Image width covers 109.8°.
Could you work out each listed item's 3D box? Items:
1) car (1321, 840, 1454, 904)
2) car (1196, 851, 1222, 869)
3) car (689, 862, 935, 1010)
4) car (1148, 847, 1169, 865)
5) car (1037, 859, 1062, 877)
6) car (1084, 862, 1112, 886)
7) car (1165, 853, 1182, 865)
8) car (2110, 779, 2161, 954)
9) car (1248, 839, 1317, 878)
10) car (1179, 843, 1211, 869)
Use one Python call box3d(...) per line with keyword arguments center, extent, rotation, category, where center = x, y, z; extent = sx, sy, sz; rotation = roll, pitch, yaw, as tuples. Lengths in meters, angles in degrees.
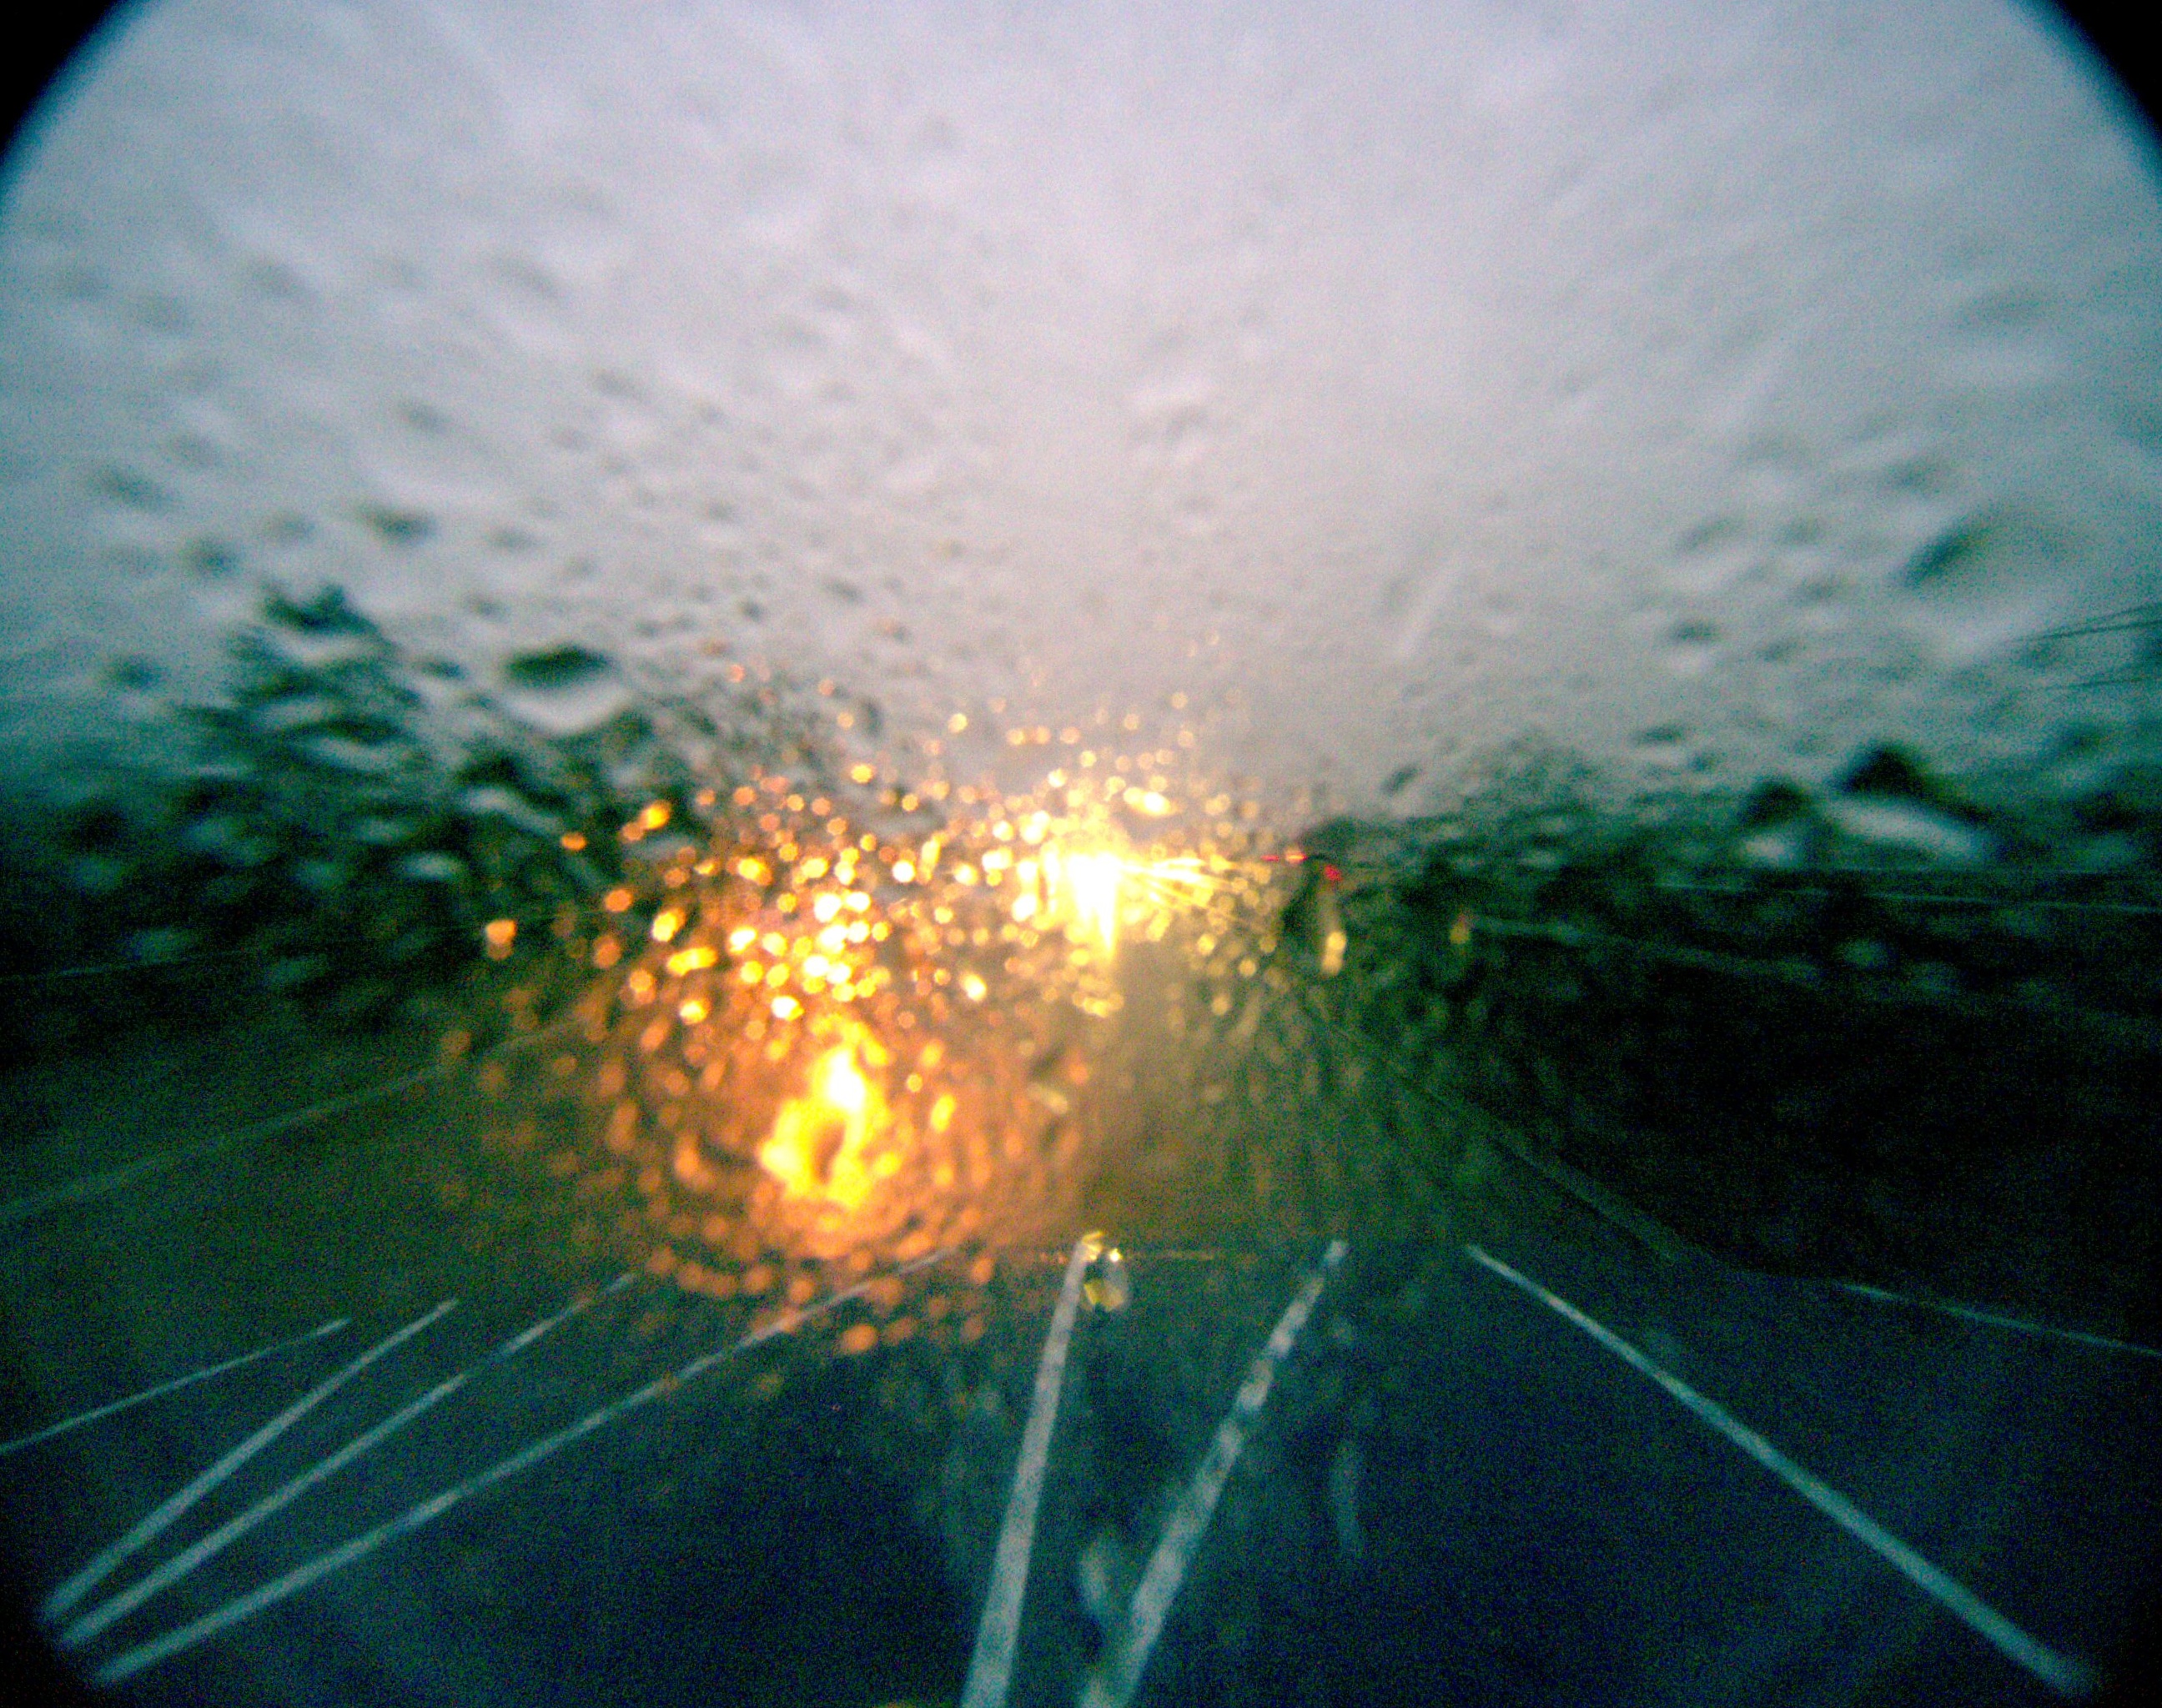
box3d(center=(8.177, 0.429, 20.697), extent=(1.998, 1.501, 4.000), rotation=(-2, 0, 1), category="car")
box3d(center=(13.411, 0.598, 79.896), extent=(2.075, 1.781, 4.339), rotation=(-2, 0, 1), category="car")
box3d(center=(-3.415, 0.944, 10.598), extent=(1.850, 1.445, 4.147), rotation=(-3, 1, 0), category="car")
box3d(center=(9.300, 0.196, 91.905), extent=(2.075, 2.102, 4.762), rotation=(-2, 0, 1), category="car")
box3d(center=(-2.743, 1.217, 67.038), extent=(1.850, 1.521, 4.150), rotation=(-2, -1, 1), category="car")
box3d(center=(1.146, 1.377, 52.775), extent=(1.850, 1.521, 4.149), rotation=(-2, -1, 0), category="car")
box3d(center=(14.470, 0.816, 118.715), extent=(2.075, 1.781, 4.847), rotation=(-2, 0, 1), category="car")
box3d(center=(12.066, 0.108, 5.710), extent=(2.169, 1.781, 4.809), rotation=(-2, 0, 1), category="car")
box3d(center=(9.409, 0.191, 35.850), extent=(2.075, 1.701, 4.399), rotation=(-2, 0, 1), category="car")
box3d(center=(9.773, 0.186, 65.474), extent=(2.075, 2.102, 4.762), rotation=(-2, 0, 1), category="car")
